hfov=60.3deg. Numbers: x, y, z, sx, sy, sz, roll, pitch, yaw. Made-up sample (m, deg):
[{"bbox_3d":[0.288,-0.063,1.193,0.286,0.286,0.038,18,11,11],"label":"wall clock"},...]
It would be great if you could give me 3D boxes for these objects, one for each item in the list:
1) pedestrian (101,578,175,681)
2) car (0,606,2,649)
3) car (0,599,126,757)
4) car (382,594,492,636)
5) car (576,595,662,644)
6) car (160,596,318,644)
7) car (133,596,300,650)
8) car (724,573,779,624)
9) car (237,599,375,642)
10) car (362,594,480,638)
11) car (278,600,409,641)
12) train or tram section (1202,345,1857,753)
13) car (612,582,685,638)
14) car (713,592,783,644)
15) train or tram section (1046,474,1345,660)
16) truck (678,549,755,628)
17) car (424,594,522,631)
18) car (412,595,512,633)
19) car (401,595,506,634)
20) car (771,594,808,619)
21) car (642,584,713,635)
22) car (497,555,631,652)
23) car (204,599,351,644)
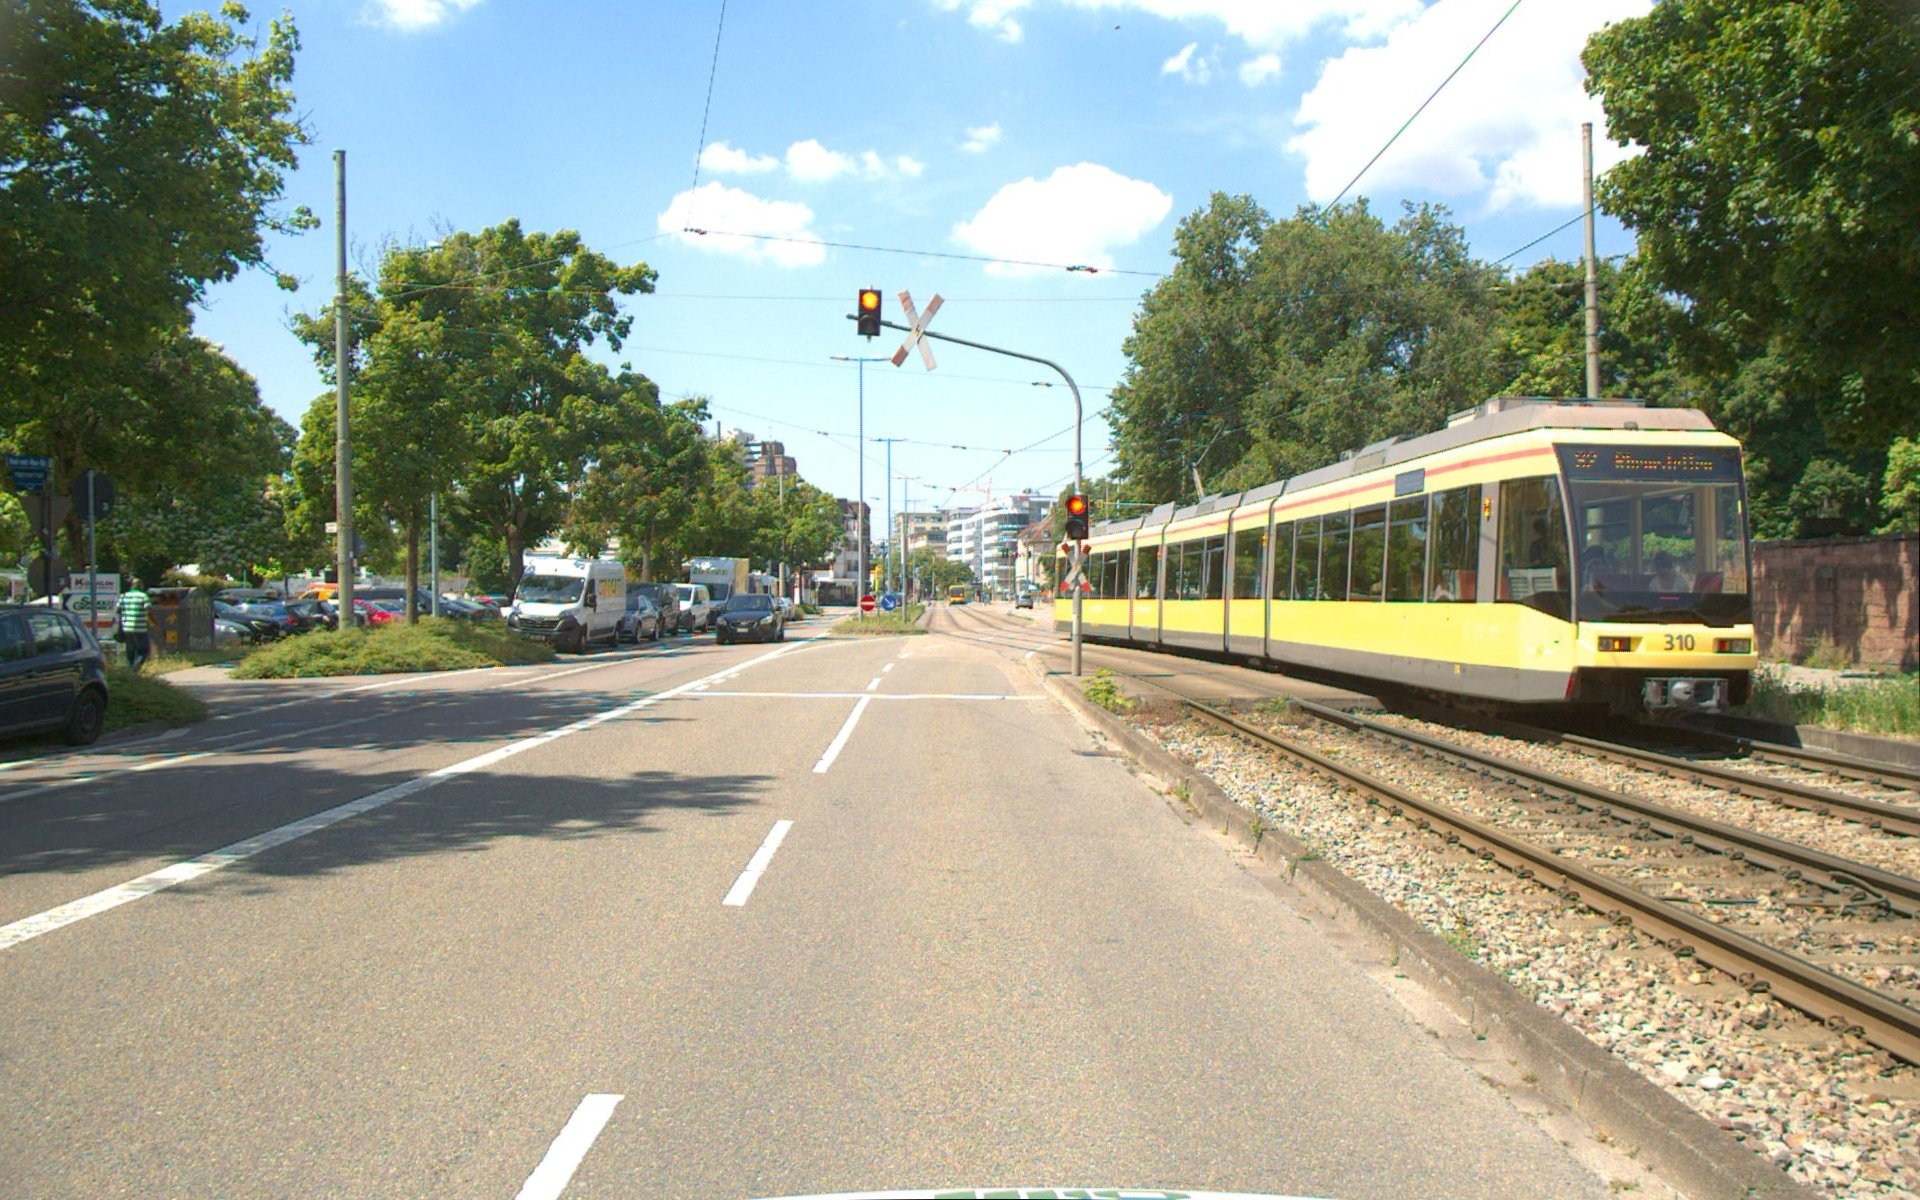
[{"bbox_3d":[-15.083,0.525,30.372,0.955,1.855,0.794,0,0,-4],"label":"pedestrian"},{"bbox_3d":[-34.635,0.949,55.487,3.906,1.467,1.804,0,0,-2],"label":"car"},{"bbox_3d":[-10.303,0.766,16.677,1.739,1.506,4.047,1,0,-1],"label":"car"},{"bbox_3d":[-21.387,0.593,67.702,3.906,1.634,1.804,0,0,-2],"label":"car"},{"bbox_3d":[-10.807,0.590,52.678,1.830,1.462,4.342,-1,0,0],"label":"car"},{"bbox_3d":[-21.492,0.578,49.420,3.906,1.362,1.804,0,0,-2],"label":"car"},{"bbox_3d":[-21.071,0.646,47.009,3.906,1.467,1.804,0,0,-2],"label":"car"},{"bbox_3d":[-11.254,-0.097,89.575,2.112,2.685,5.612,0,0,2],"label":"car"},{"bbox_3d":[-21.908,0.671,55.511,3.906,1.362,1.804,0,0,-2],"label":"car"},{"bbox_3d":[-20.651,0.592,63.461,3.906,1.634,1.804,0,0,-2],"label":"car"},{"bbox_3d":[-21.615,0.697,58.079,3.906,1.362,1.804,0,0,-2],"label":"car"},{"bbox_3d":[6.655,-0.550,24.592,2.884,3.756,18.383,1,0,-2],"label":"train or tram section"},{"bbox_3d":[-11.229,0.343,59.921,1.830,1.928,4.270,-1,0,0],"label":"car"},{"bbox_3d":[-6.241,0.506,49.037,1.644,1.422,4.004,-2,0,-2],"label":"car"},{"bbox_3d":[5.326,-0.762,43.755,2.887,3.756,20.256,1,0,-6],"label":"train or tram section"},{"bbox_3d":[-10.899,-0.522,74.566,2.112,3.266,7.084,3,0,2],"label":"truck"},{"bbox_3d":[-22.250,0.568,75.657,3.906,1.634,1.804,0,0,-2],"label":"car"},{"bbox_3d":[-22.038,0.608,73.317,3.906,1.634,1.804,0,0,-2],"label":"car"},{"bbox_3d":[-21.587,0.606,70.554,3.906,1.634,1.804,0,0,-2],"label":"car"},{"bbox_3d":[-11.401,0.395,110.820,2.019,1.609,4.871,-1,0,0],"label":"car"},{"bbox_3d":[-11.199,0.350,65.887,2.019,1.931,4.871,-1,0,0],"label":"car"},{"bbox_3d":[-10.982,0.066,46.394,2.112,2.530,6.194,0,0,2],"label":"car"},{"bbox_3d":[-21.658,0.678,52.567,3.906,1.362,1.804,0,0,-2],"label":"car"}]
